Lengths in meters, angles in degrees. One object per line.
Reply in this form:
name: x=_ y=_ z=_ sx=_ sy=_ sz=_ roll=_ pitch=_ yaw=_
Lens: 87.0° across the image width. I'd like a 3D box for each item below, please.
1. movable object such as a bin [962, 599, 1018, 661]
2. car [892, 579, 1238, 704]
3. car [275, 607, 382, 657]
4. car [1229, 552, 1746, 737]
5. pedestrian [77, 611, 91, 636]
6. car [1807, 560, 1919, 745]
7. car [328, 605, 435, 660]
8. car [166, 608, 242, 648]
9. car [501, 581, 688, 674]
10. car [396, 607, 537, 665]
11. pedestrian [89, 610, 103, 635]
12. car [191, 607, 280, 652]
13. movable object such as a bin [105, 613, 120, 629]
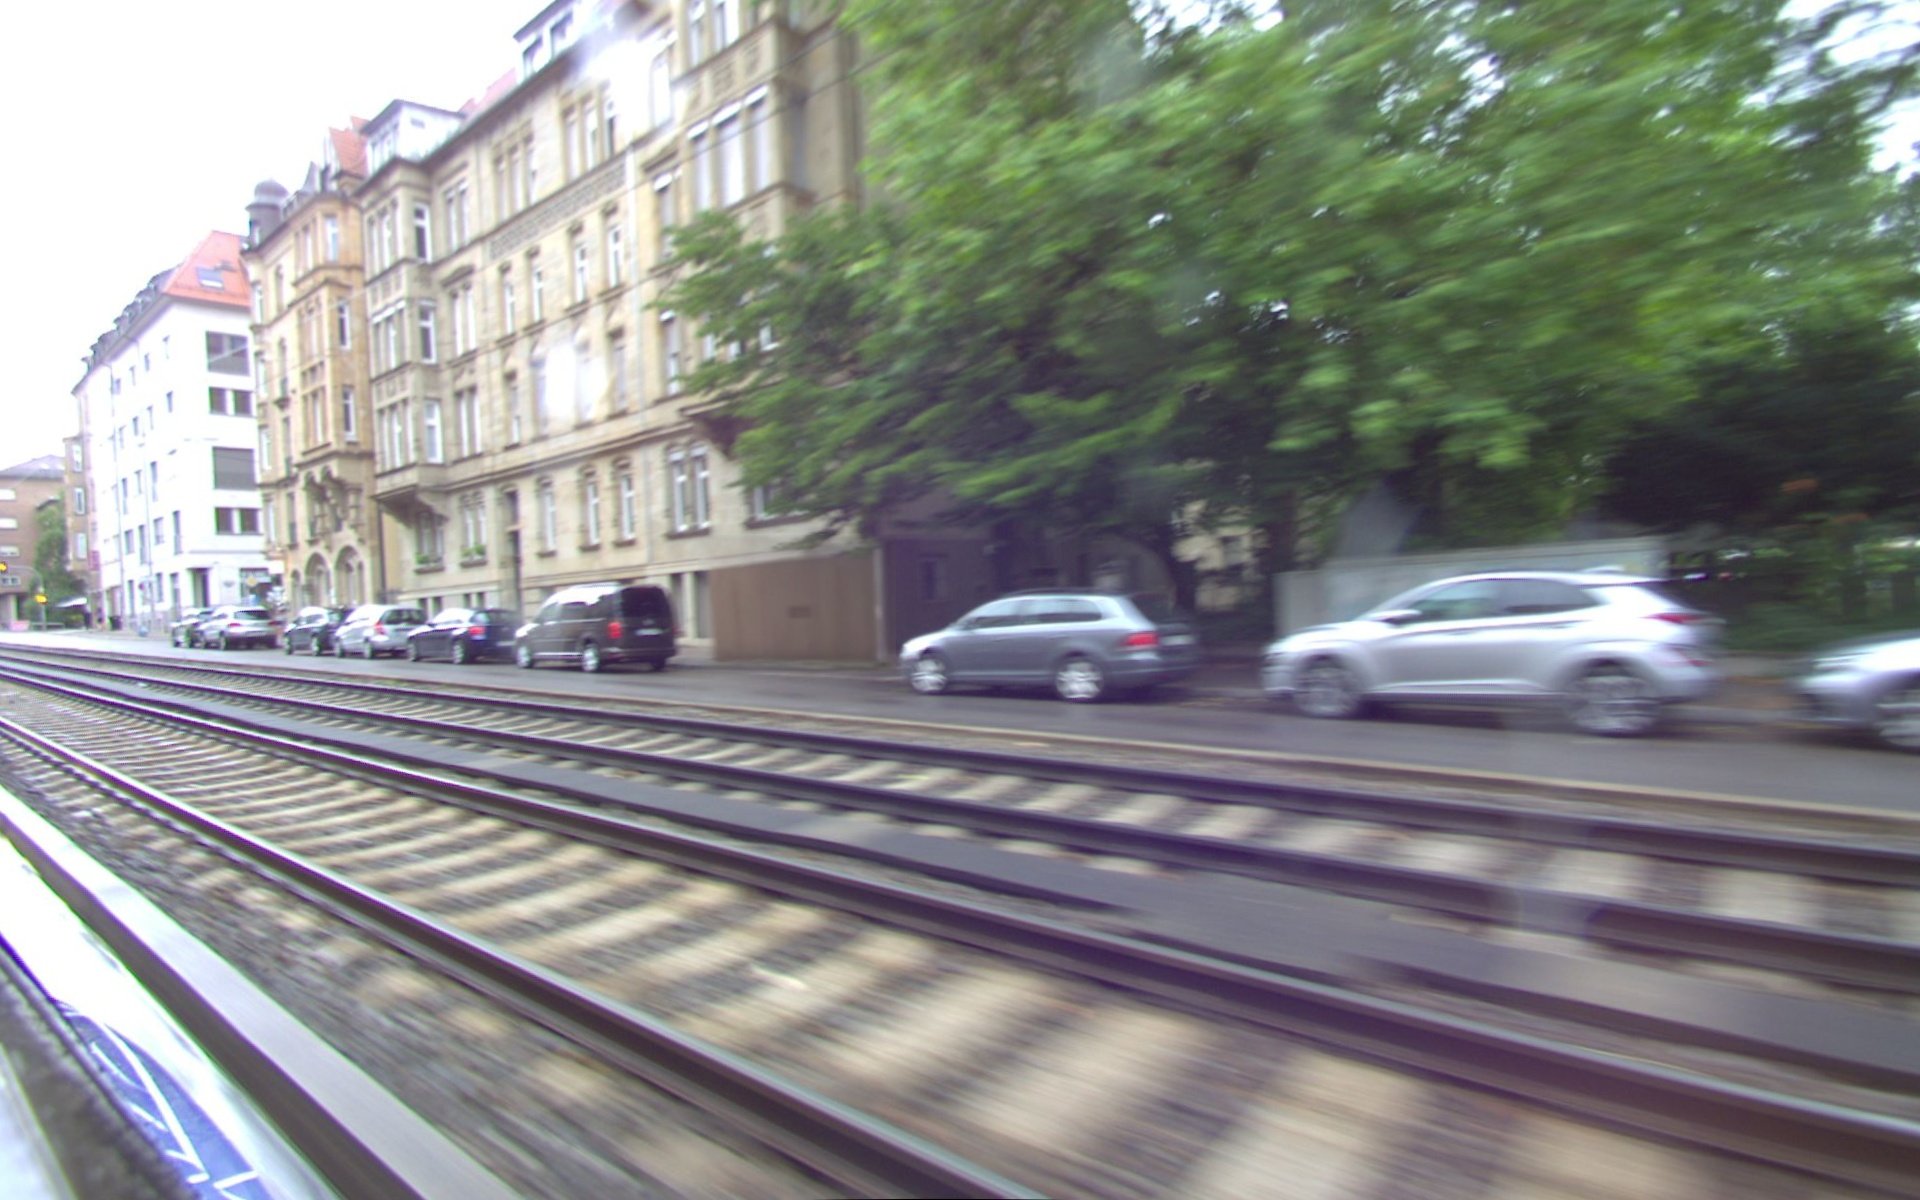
movable object such as a bin: x=0.566 y=0.559 z=19.223 sx=0.773 sy=1.128 sz=0.709 roll=-1 pitch=1 yaw=43
car: x=1.333 y=0.539 z=14.049 sx=4.545 sy=1.475 sz=1.831 roll=-1 pitch=-2 yaw=39
car: x=-21.033 y=1.033 z=33.644 sx=4.166 sy=1.519 sz=1.851 roll=-1 pitch=-1 yaw=41
car: x=5.312 y=0.421 z=10.590 sx=4.539 sy=1.548 sz=1.736 roll=-1 pitch=-2 yaw=40
pedestrian: x=-62.214 y=1.655 z=71.858 sx=0.746 sy=1.731 sz=0.595 roll=-1 pitch=3 yaw=43
car: x=9.015 y=0.395 z=7.499 sx=4.150 sy=1.424 sz=1.736 roll=-1 pitch=-2 yaw=40
car: x=-17.460 y=0.947 z=30.482 sx=3.853 sy=1.535 sz=1.677 roll=-1 pitch=-1 yaw=41
car: x=-32.608 y=1.183 z=43.610 sx=4.429 sy=1.614 sz=1.838 roll=-1 pitch=-1 yaw=43
car: x=-8.148 y=0.589 z=22.321 sx=4.815 sy=1.861 sz=1.782 roll=-1 pitch=-1 yaw=41
car: x=-13.018 y=0.904 z=26.606 sx=4.266 sy=1.409 sz=1.745 roll=-1 pitch=-1 yaw=40
pedestrian: x=-61.742 y=1.609 z=72.300 sx=0.658 sy=1.731 sz=0.595 roll=-1 pitch=3 yaw=43
car: x=-29.016 y=1.164 z=40.480 sx=4.311 sy=1.665 sz=1.840 roll=-1 pitch=0 yaw=40
movable object such as a bin: x=-60.177 y=1.483 z=71.839 sx=0.563 sy=1.088 sz=0.623 roll=-1 pitch=4 yaw=40
